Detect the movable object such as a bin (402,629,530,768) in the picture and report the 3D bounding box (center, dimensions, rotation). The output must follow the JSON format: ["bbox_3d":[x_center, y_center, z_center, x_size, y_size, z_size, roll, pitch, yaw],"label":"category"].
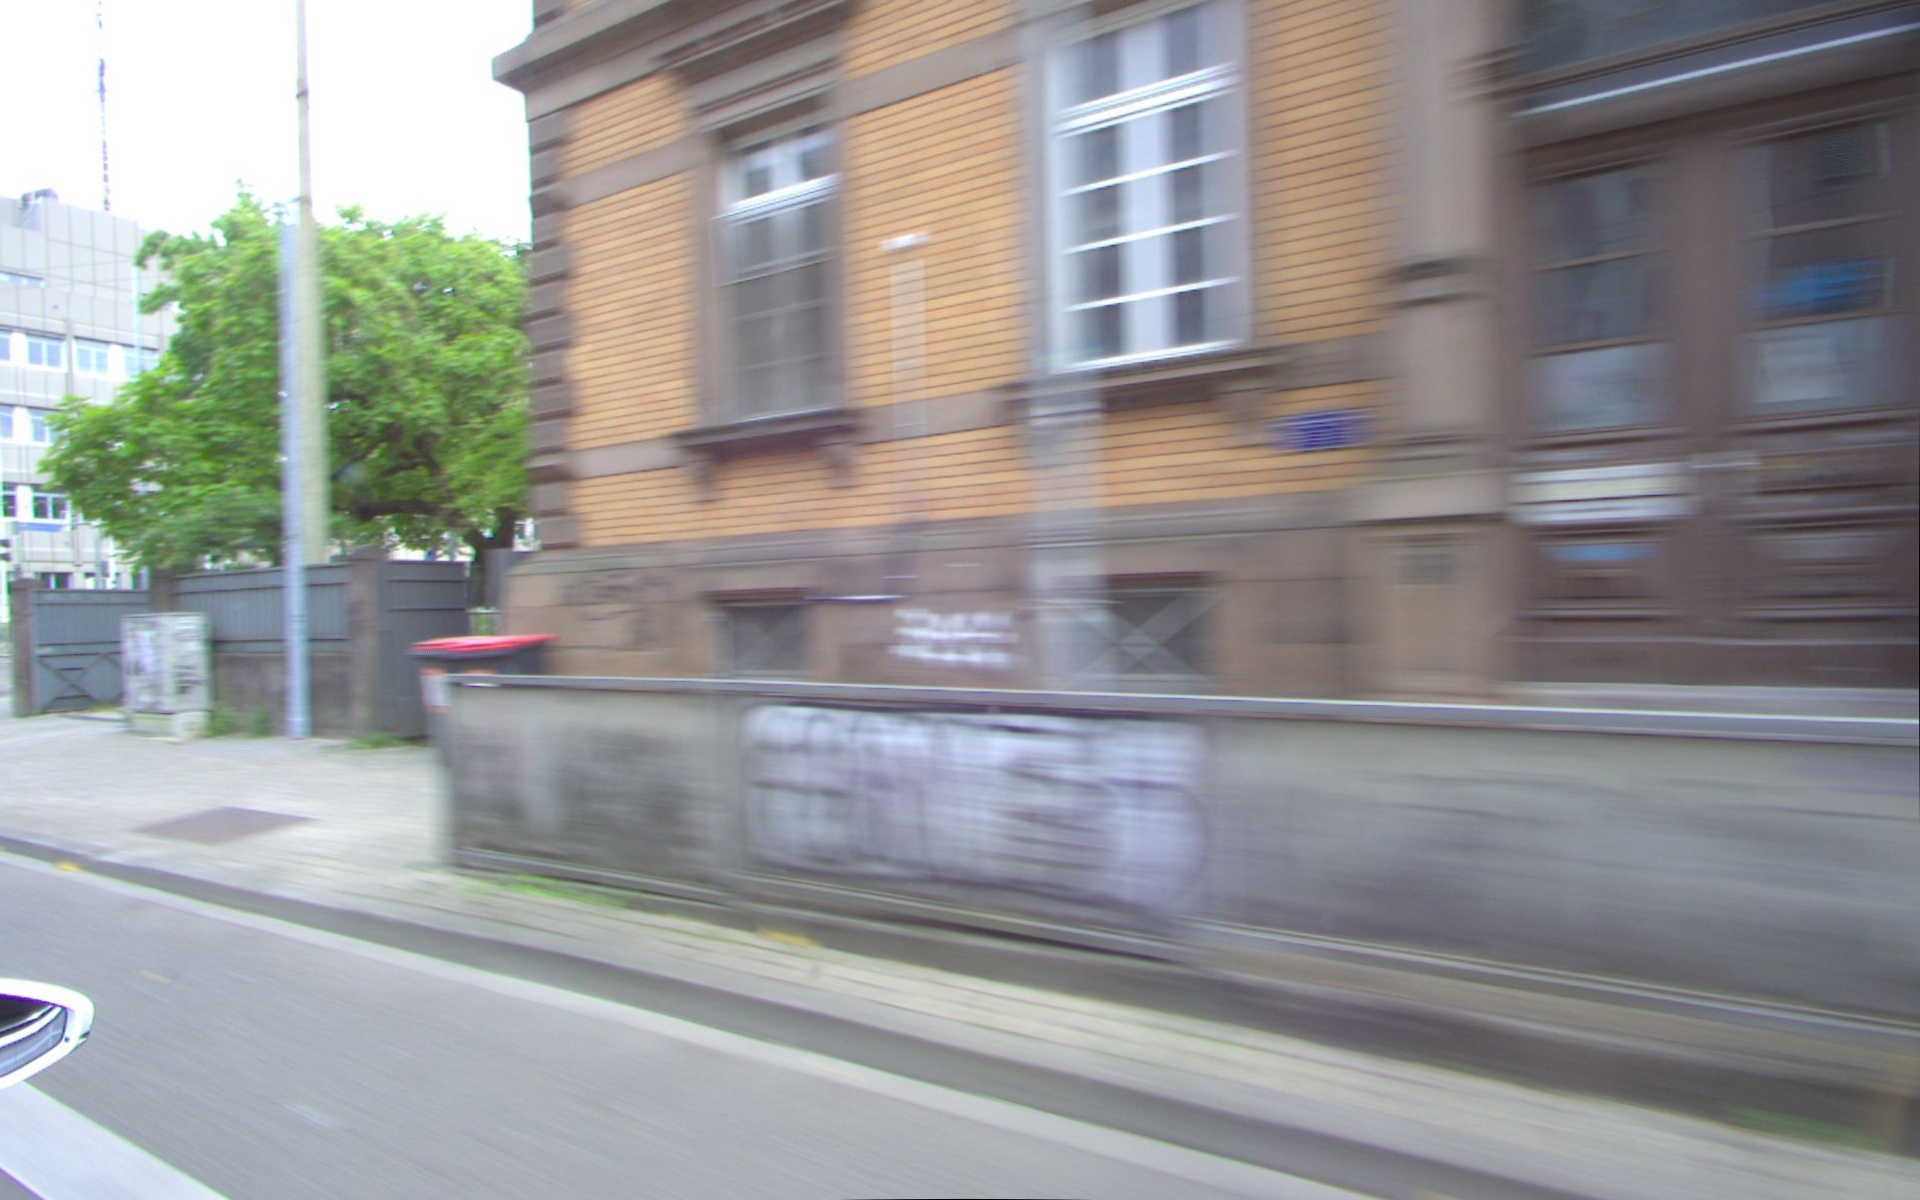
[{"bbox_3d":[-4.276,0.831,8.682,0.667,1.097,0.650,-2,4,27],"label":"movable object such as a bin"}]

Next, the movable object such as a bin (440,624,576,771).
[{"bbox_3d":[-3.713,0.780,8.252,0.690,1.097,0.662,-2,4,27],"label":"movable object such as a bin"}]
